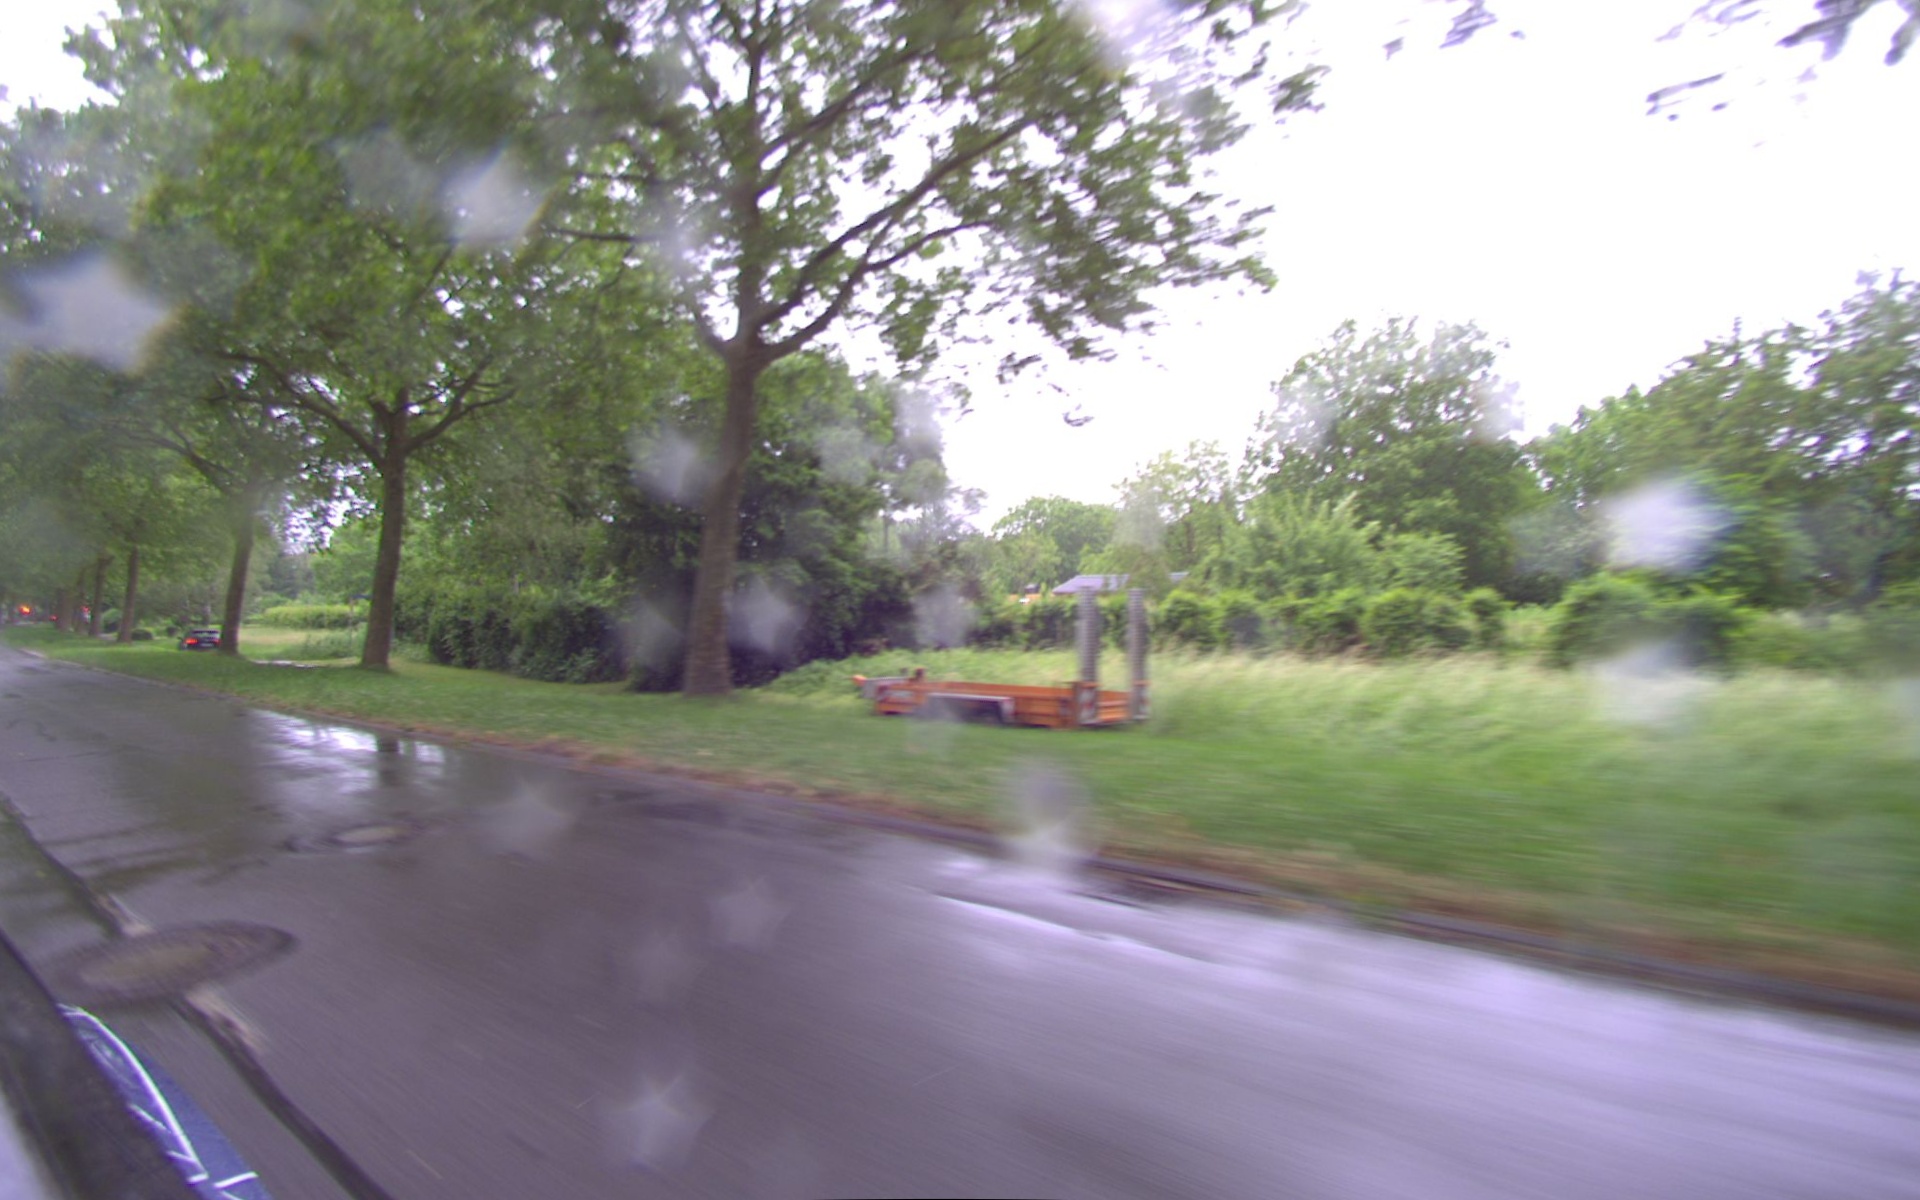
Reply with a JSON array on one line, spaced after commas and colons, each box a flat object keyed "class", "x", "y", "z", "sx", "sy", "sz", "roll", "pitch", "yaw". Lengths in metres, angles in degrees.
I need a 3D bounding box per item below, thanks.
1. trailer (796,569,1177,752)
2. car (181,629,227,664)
[{"class": "trailer", "x": 0.252, "y": 0.924, "z": 18.176, "sx": 6.651, "sy": 2.684, "sz": 2.768, "roll": -1, "pitch": 0, "yaw": 42}, {"class": "car", "x": -40.904, "y": 2.488, "z": 54.807, "sx": 1.869, "sy": 1.695, "sz": 4.010, "roll": -1, "pitch": 0, "yaw": -35}]
